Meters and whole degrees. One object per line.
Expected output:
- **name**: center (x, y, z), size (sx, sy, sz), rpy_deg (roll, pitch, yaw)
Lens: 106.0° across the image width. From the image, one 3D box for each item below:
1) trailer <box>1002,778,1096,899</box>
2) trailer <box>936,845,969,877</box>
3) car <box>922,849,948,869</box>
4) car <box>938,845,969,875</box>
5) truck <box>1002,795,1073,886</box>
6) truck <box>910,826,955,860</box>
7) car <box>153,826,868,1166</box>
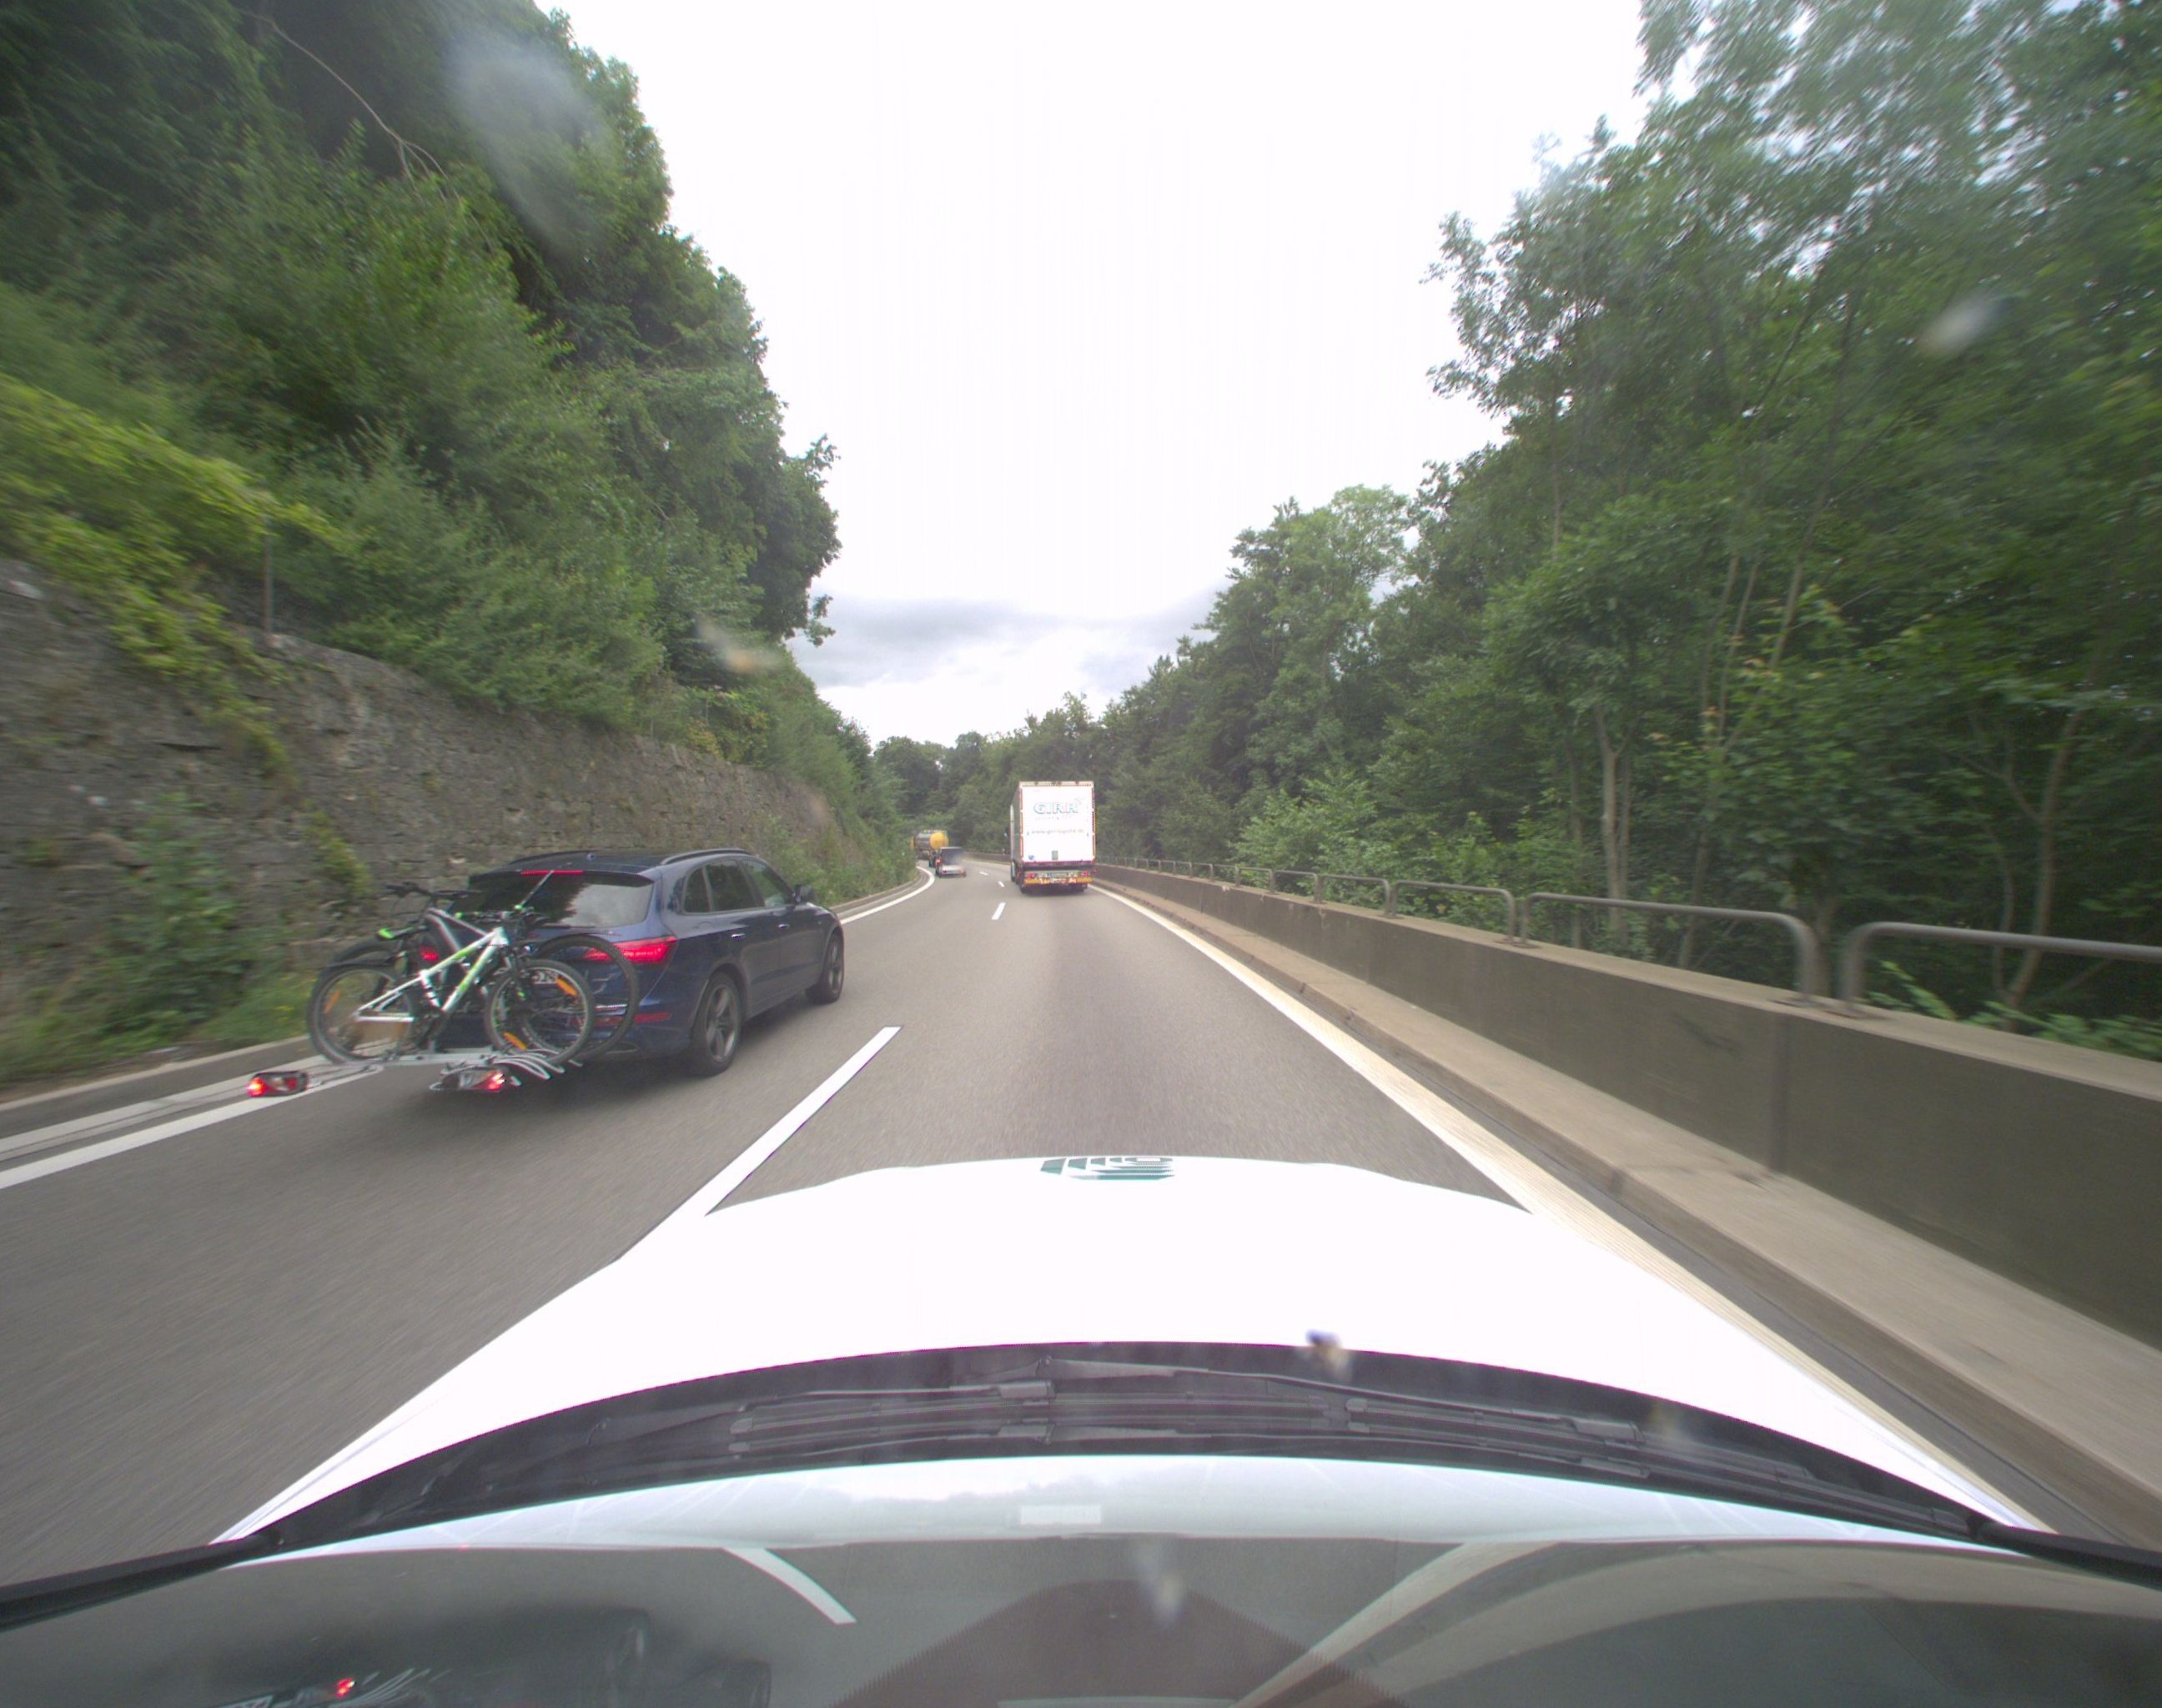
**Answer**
- **trailer**: center (-1.643, -0.701, 33.509), size (3.053, 3.985, 12.115), rpy_deg (2, 1, -5)
- **trailer**: center (-8.234, 0.454, 52.390), size (1.969, 1.939, 3.421), rpy_deg (0, -1, -7)
- **car**: center (-13.282, 0.482, 74.003), size (1.997, 1.717, 3.980), rpy_deg (-1, 0, -15)
- **car**: center (-8.830, 0.431, 56.818), size (1.992, 2.014, 5.525), rpy_deg (0, -1, -8)
- **truck**: center (-2.257, -0.695, 39.929), size (3.053, 3.985, 7.174), rpy_deg (2, 1, -5)
- **truck**: center (-19.276, -1.292, 104.738), size (3.070, 3.986, 13.596), rpy_deg (-1, 0, -22)
- **car**: center (-3.496, 0.740, 6.767), size (1.965, 1.593, 5.583), rpy_deg (2, -1, -1)
